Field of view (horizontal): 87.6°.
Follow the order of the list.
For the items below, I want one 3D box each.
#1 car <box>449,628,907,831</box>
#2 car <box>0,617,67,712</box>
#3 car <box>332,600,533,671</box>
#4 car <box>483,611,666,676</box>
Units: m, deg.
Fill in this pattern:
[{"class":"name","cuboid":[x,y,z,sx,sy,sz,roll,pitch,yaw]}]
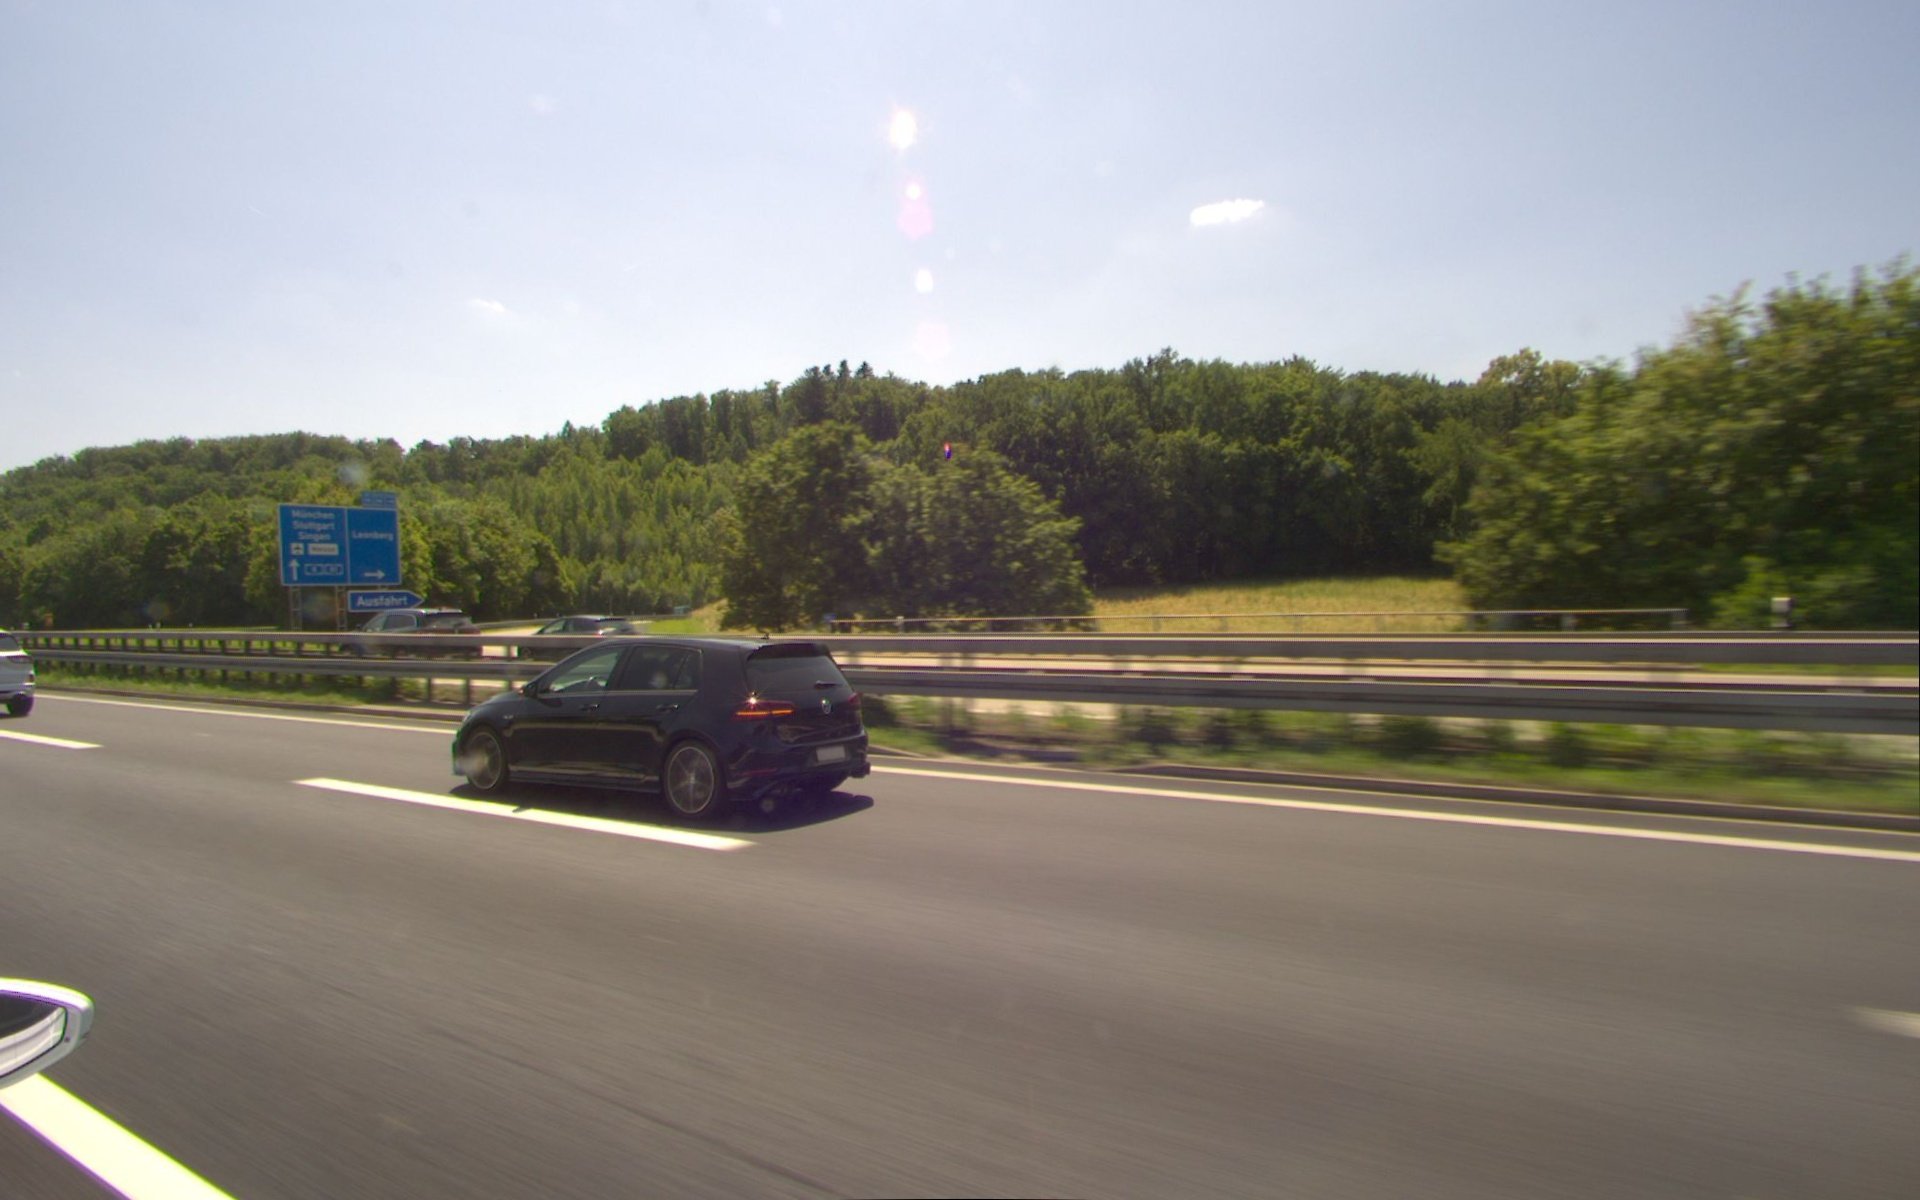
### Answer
[{"class":"car","cuboid":[-2.599,1.001,9.041,3.908,1.454,1.792,-1,-1,31]},{"class":"car","cuboid":[-18.947,1.180,18.775,4.400,1.683,1.991,-1,-1,29]},{"class":"car","cuboid":[-13.711,0.921,25.922,5.542,1.683,1.991,-1,-1,30]},{"class":"car","cuboid":[-10.800,1.184,27.965,5.149,1.683,1.991,-1,-1,30]}]
